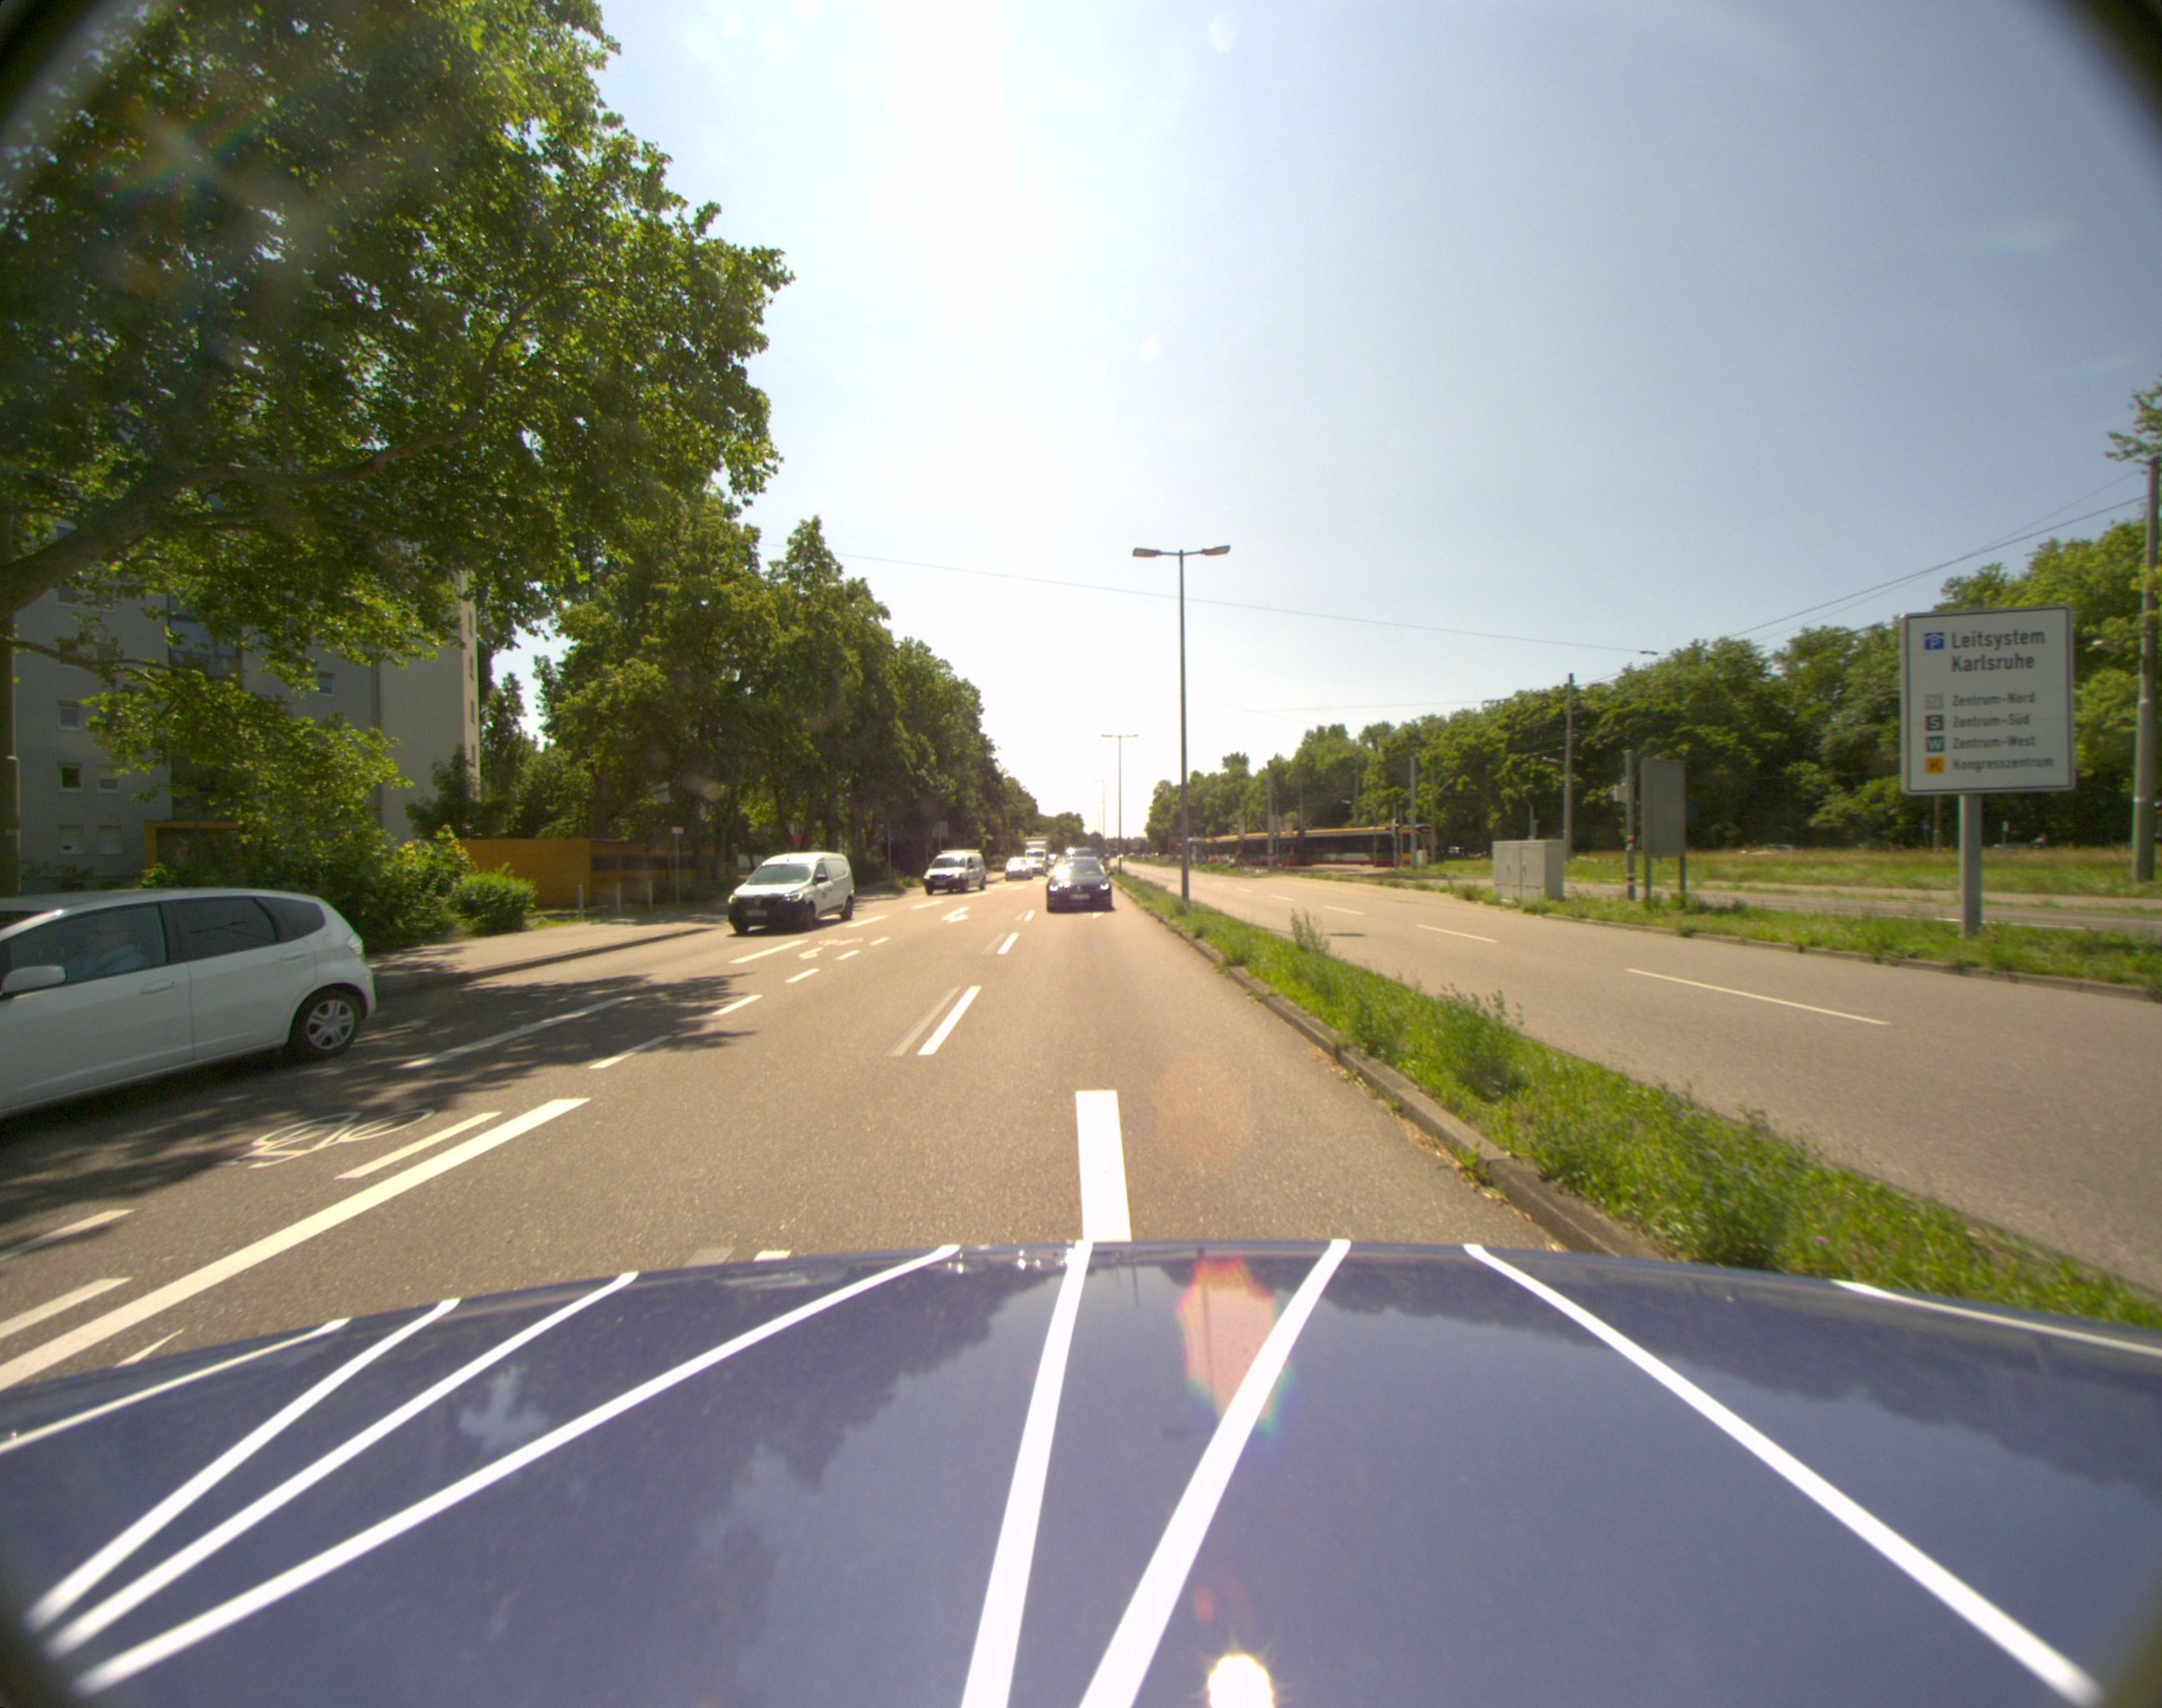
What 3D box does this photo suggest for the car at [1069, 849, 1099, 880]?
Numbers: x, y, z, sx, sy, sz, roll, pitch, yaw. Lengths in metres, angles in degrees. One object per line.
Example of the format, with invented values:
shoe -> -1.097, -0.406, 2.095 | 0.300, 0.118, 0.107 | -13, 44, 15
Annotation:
car -> 0.205, 0.617, 46.995 | 1.746, 1.840, 3.887 | -1, 0, 1

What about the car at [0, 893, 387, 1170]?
car -> -7.190, 1.133, 4.971 | 1.725, 1.480, 3.877 | -3, 0, -1

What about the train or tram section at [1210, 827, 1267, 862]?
train or tram section -> 17.824, -1.015, 87.165 | 3.052, 3.603, 13.894 | -3, 0, -2

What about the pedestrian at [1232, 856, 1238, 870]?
pedestrian -> 12.209, 0.730, 60.179 | 0.384, 1.052, 0.377 | -3, 1, -2

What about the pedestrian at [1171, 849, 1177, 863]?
pedestrian -> 11.794, 0.260, 96.529 | 0.633, 1.781, 0.776 | -3, 1, -2

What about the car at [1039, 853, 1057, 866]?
car -> -3.625, 0.596, 84.399 | 1.746, 1.382, 3.887 | -1, 0, 1

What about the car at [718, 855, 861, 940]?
car -> -6.878, 0.926, 18.466 | 1.714, 1.737, 4.427 | -3, 0, 0

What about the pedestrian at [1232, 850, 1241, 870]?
pedestrian -> 12.224, 0.477, 59.676 | 0.536, 1.556, 0.582 | -3, 1, -2

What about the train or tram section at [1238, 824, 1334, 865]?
train or tram section -> 19.869, -0.820, 74.994 | 3.055, 3.603, 12.435 | -3, 0, -16

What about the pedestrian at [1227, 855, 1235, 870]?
pedestrian -> 11.995, 0.659, 60.581 | 0.495, 1.182, 0.400 | -3, 1, -5

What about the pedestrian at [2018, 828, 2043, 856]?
pedestrian -> 54.107, -0.678, 43.302 | 0.788, 1.565, 0.692 | -2, 1, 43

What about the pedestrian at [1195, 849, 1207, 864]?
pedestrian -> 12.078, 0.240, 76.409 | 0.933, 1.537, 0.985 | -3, 1, -2

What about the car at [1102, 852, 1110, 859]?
car -> 6.010, 0.299, 180.426 | 1.773, 1.496, 3.720 | -1, 0, 2

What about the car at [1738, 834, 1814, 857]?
car -> 55.864, -0.643, 61.160 | 2.001, 1.718, 3.994 | -3, 0, -19

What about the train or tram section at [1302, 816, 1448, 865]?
train or tram section -> 24.393, -0.963, 64.123 | 3.058, 3.603, 12.425 | -3, 0, -28

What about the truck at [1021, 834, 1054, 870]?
truck -> -4.040, -0.202, 72.463 | 2.490, 3.277, 6.605 | -1, 0, 2

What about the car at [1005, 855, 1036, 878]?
car -> -4.006, 0.818, 50.787 | 1.626, 1.433, 3.499 | -2, 0, 2

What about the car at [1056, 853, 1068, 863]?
car -> -2.971, 0.607, 117.970 | 1.746, 1.382, 3.887 | -1, 0, 1

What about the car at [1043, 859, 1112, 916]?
car -> -0.071, 0.883, 21.595 | 1.746, 1.382, 3.887 | -2, 0, 1

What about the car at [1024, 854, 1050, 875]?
car -> -3.403, 0.767, 59.574 | 1.618, 1.373, 4.113 | -2, 2, 1

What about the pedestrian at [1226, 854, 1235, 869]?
pedestrian -> 12.018, 0.609, 61.112 | 0.582, 1.182, 0.536 | -3, 1, -5

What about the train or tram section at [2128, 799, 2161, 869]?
train or tram section -> 58.101, -1.177, 33.914 | 3.051, 3.446, 13.232 | -3, 0, -37

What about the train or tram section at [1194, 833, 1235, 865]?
train or tram section -> 17.531, -0.638, 100.809 | 3.051, 3.745, 13.260 | -3, 0, 0

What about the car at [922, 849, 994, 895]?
car -> -5.433, 0.743, 34.156 | 1.808, 1.845, 5.084 | -2, 0, 6

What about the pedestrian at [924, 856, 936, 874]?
pedestrian -> -11.581, 0.850, 58.393 | 0.710, 1.390, 0.763 | -2, 1, 1

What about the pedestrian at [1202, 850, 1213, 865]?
pedestrian -> 12.527, 0.338, 75.354 | 0.837, 1.499, 0.879 | -3, 1, -2
